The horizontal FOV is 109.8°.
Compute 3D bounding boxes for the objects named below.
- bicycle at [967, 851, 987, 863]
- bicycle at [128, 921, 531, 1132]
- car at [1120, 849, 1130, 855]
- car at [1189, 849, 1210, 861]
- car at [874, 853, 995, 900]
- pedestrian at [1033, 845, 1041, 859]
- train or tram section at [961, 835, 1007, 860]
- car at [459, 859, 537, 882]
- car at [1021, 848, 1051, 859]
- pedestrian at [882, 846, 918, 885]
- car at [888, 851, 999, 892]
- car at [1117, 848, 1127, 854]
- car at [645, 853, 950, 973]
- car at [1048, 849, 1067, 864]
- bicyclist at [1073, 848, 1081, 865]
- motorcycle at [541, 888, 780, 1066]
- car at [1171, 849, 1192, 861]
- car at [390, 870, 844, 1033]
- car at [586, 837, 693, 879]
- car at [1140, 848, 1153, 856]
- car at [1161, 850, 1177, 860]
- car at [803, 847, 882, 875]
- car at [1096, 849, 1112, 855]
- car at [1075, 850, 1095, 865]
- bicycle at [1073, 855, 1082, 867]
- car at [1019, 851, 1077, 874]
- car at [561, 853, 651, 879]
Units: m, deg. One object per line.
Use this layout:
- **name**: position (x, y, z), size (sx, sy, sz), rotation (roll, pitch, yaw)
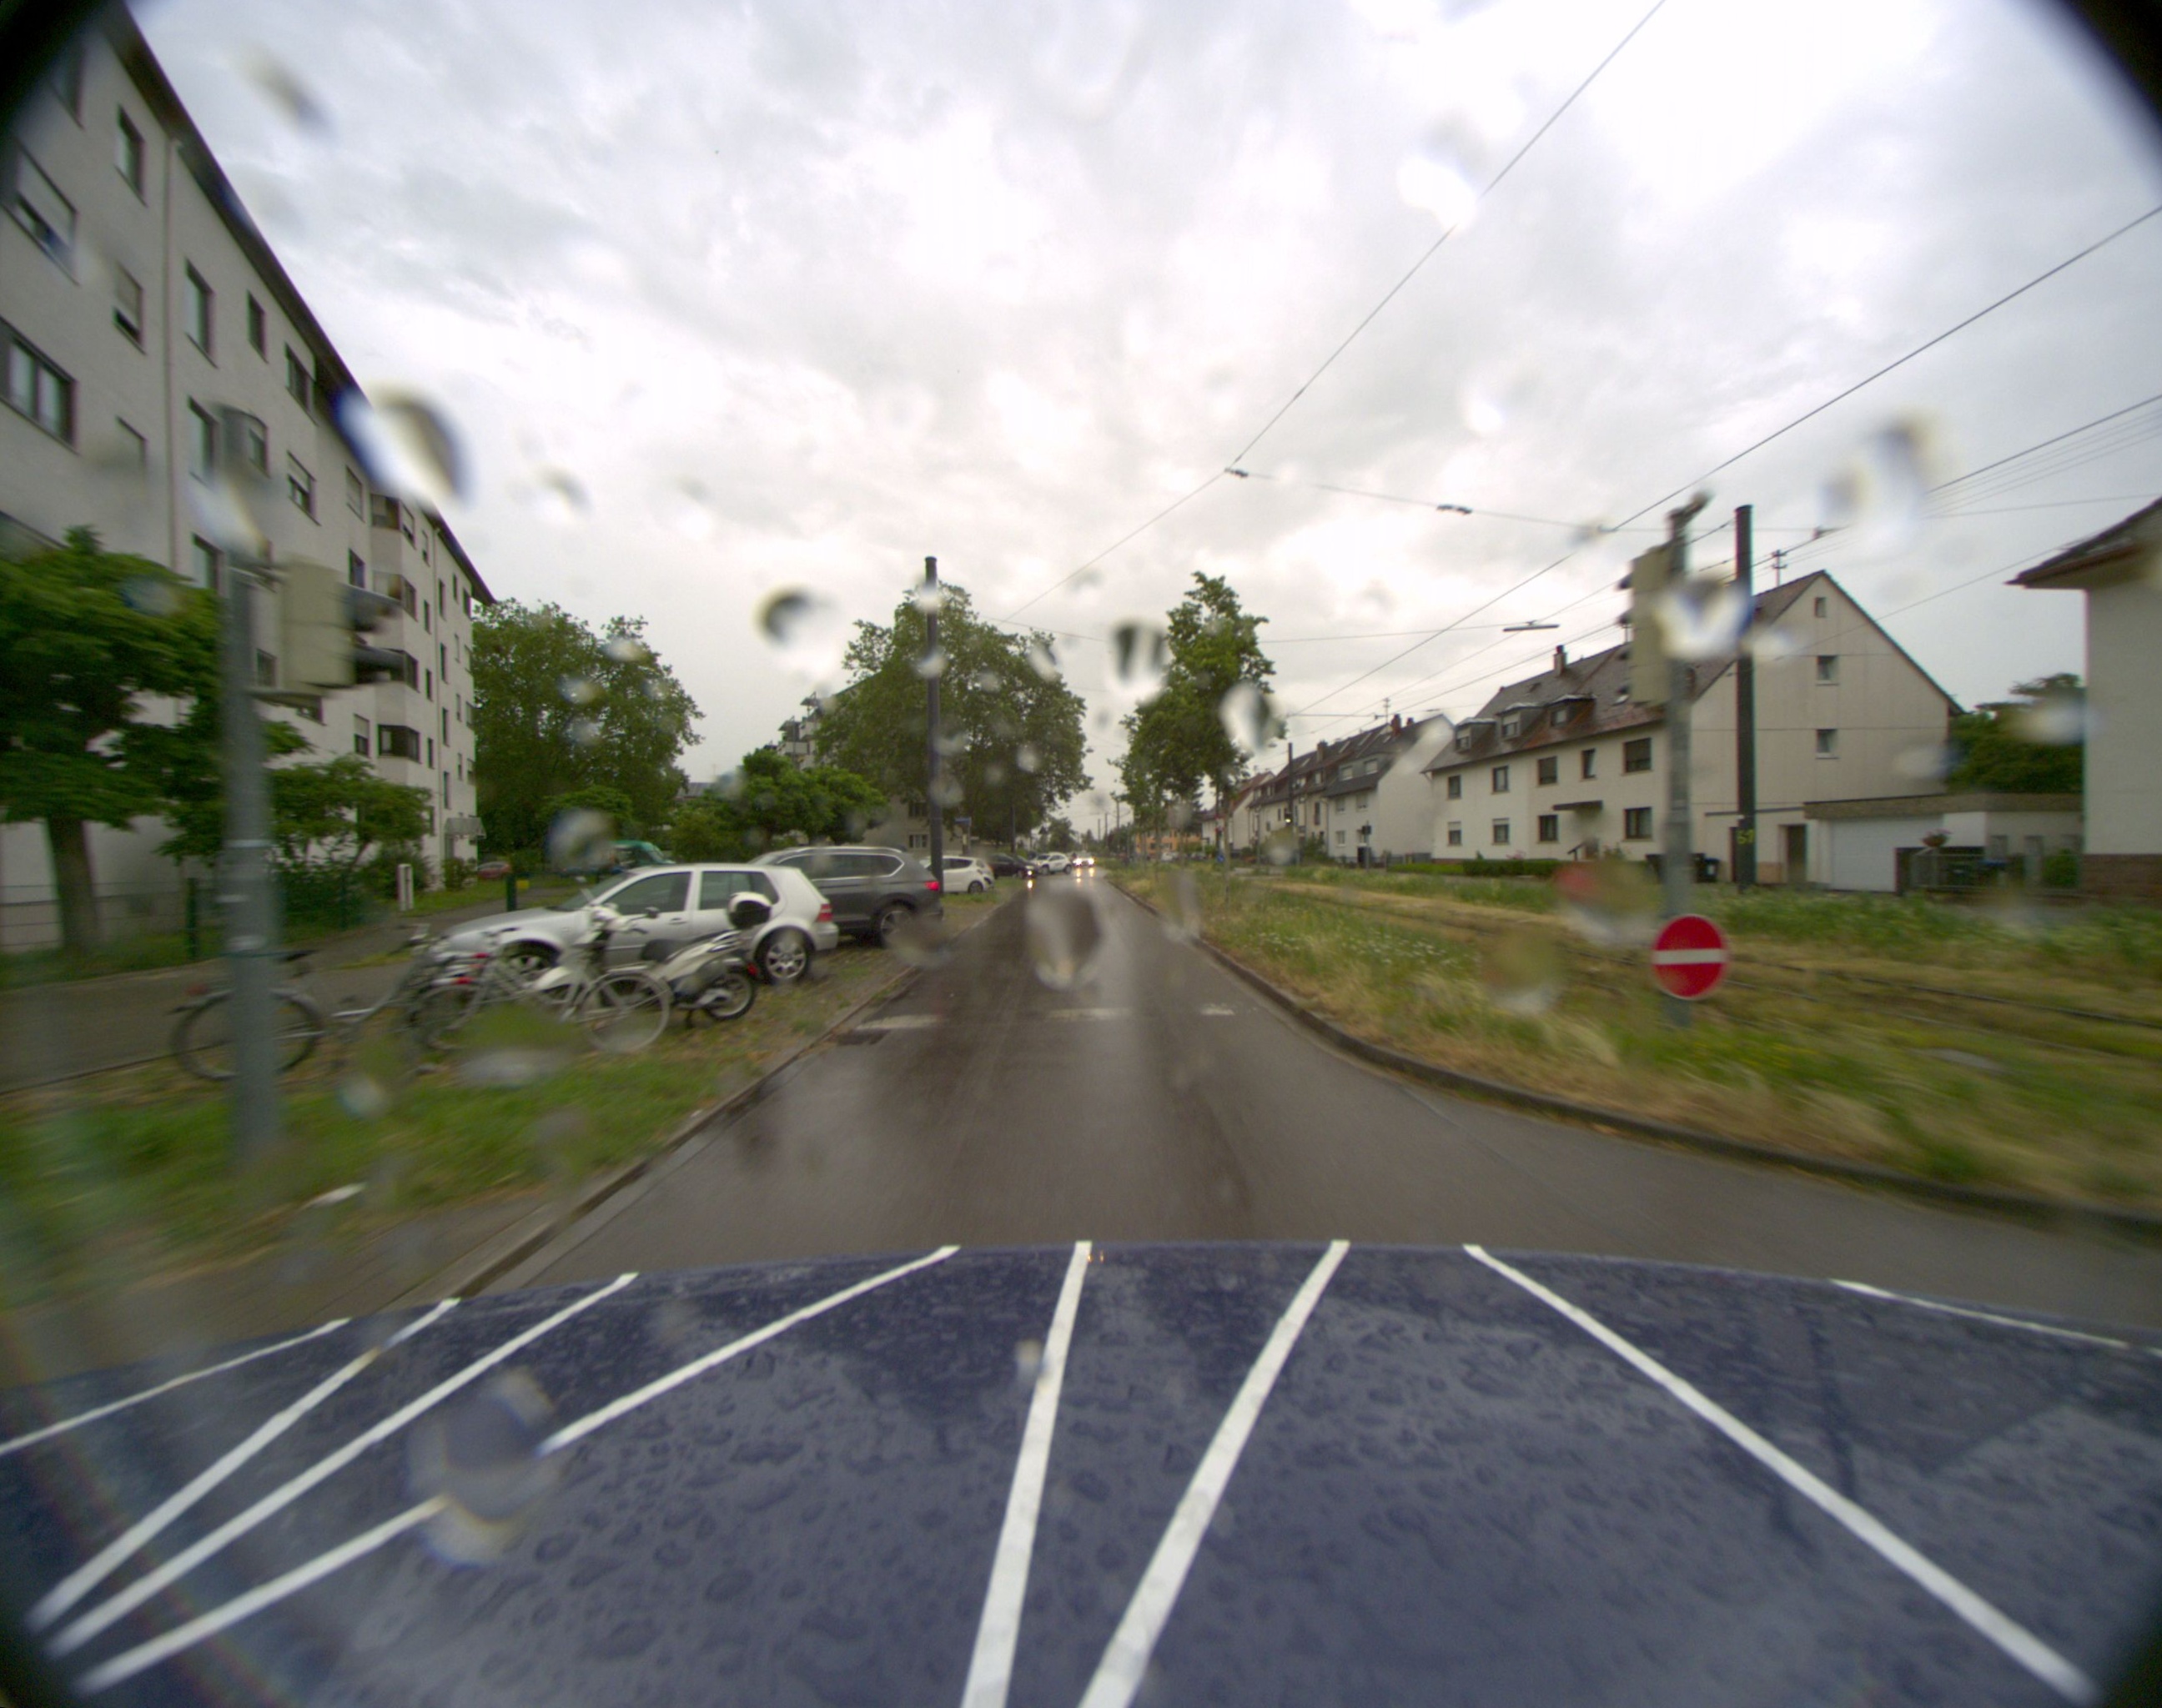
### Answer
- **bicycle**: position (-10.078, 0.299, 73.766), size (1.864, 1.135, 0.532), rotation (-1, 0, -26)
- **bicycle**: position (-5.196, 1.106, 5.434), size (0.627, 1.095, 1.961), rotation (1, 0, 44)
- **car**: position (10.294, -0.486, 179.208), size (1.886, 1.423, 4.076), rotation (0, 1, -3)
- **car**: position (13.960, 0.139, 89.902), size (1.777, 1.418, 3.936), rotation (0, 0, -2)
- **car**: position (-5.293, 0.772, 27.671), size (4.008, 1.500, 1.700), rotation (-1, 3, -39)
- **pedestrian**: position (-5.765, -0.250, 100.218), size (0.865, 1.764, 1.017), rotation (0, 1, -15)
- **train or tram section**: position (-13.022, -0.871, 102.091), size (6.382, 3.320, 2.763), rotation (0, 1, 44)
- **car**: position (-39.960, 1.099, 52.143), size (4.002, 1.497, 1.740), rotation (0, 1, 1)
- **car**: position (-6.529, -0.105, 110.419), size (4.007, 1.518, 1.715), rotation (-1, 1, -35)
- **pedestrian**: position (-8.443, 0.527, 35.470), size (1.101, 1.803, 1.434), rotation (-1, 1, 10)
- **car**: position (-5.535, 0.652, 30.751), size (4.007, 1.500, 1.779), rotation (0, 3, -36)
- **car**: position (10.103, -0.851, 187.879), size (2.097, 1.423, 4.076), rotation (0, 1, -3)
- **car**: position (-4.552, 0.809, 12.427), size (4.357, 1.641, 1.853), rotation (0, 1, -33)
- **car**: position (-2.496, 0.253, 80.334), size (1.905, 1.566, 4.110), rotation (0, 1, -3)
- **bicyclist**: position (-0.347, 0.232, 68.277), size (0.711, 1.504, 0.715), rotation (0, 1, -3)
- **motorcycle**: position (-3.688, 0.996, 6.739), size (1.783, 1.329, 0.687), rotation (0, 0, -36)
- **car**: position (13.540, 0.097, 102.575), size (1.892, 1.523, 4.755), rotation (0, 0, -3)
- **car**: position (-5.088, 0.920, 8.791), size (4.133, 1.414, 1.734), rotation (0, 0, -36)
- **car**: position (-30.501, 0.282, 52.606), size (6.134, 2.763, 2.187), rotation (0, 1, 2)
- **car**: position (12.226, -0.353, 141.430), size (1.912, 1.581, 3.999), rotation (0, 1, -2)
- **car**: position (13.143, 0.082, 113.745), size (1.715, 1.432, 3.998), rotation (0, 0, -3)
- **car**: position (-14.862, 0.430, 47.413), size (4.303, 1.671, 1.871), rotation (0, 1, 1)
- **car**: position (6.225, -0.470, 206.775), size (3.999, 1.638, 1.893), rotation (0, 1, -5)
- **car**: position (0.369, 0.315, 77.694), size (1.854, 1.500, 4.119), rotation (0, 1, -3)
- **bicycle**: position (-0.328, 0.630, 68.427), size (0.711, 1.031, 2.098), rotation (-2, 0, -2)
- **car**: position (-2.322, 0.609, 54.227), size (1.849, 1.500, 4.128), rotation (-1, 1, 39)
- **car**: position (-29.314, 0.721, 47.000), size (4.303, 1.497, 1.937), rotation (0, 1, 1)
